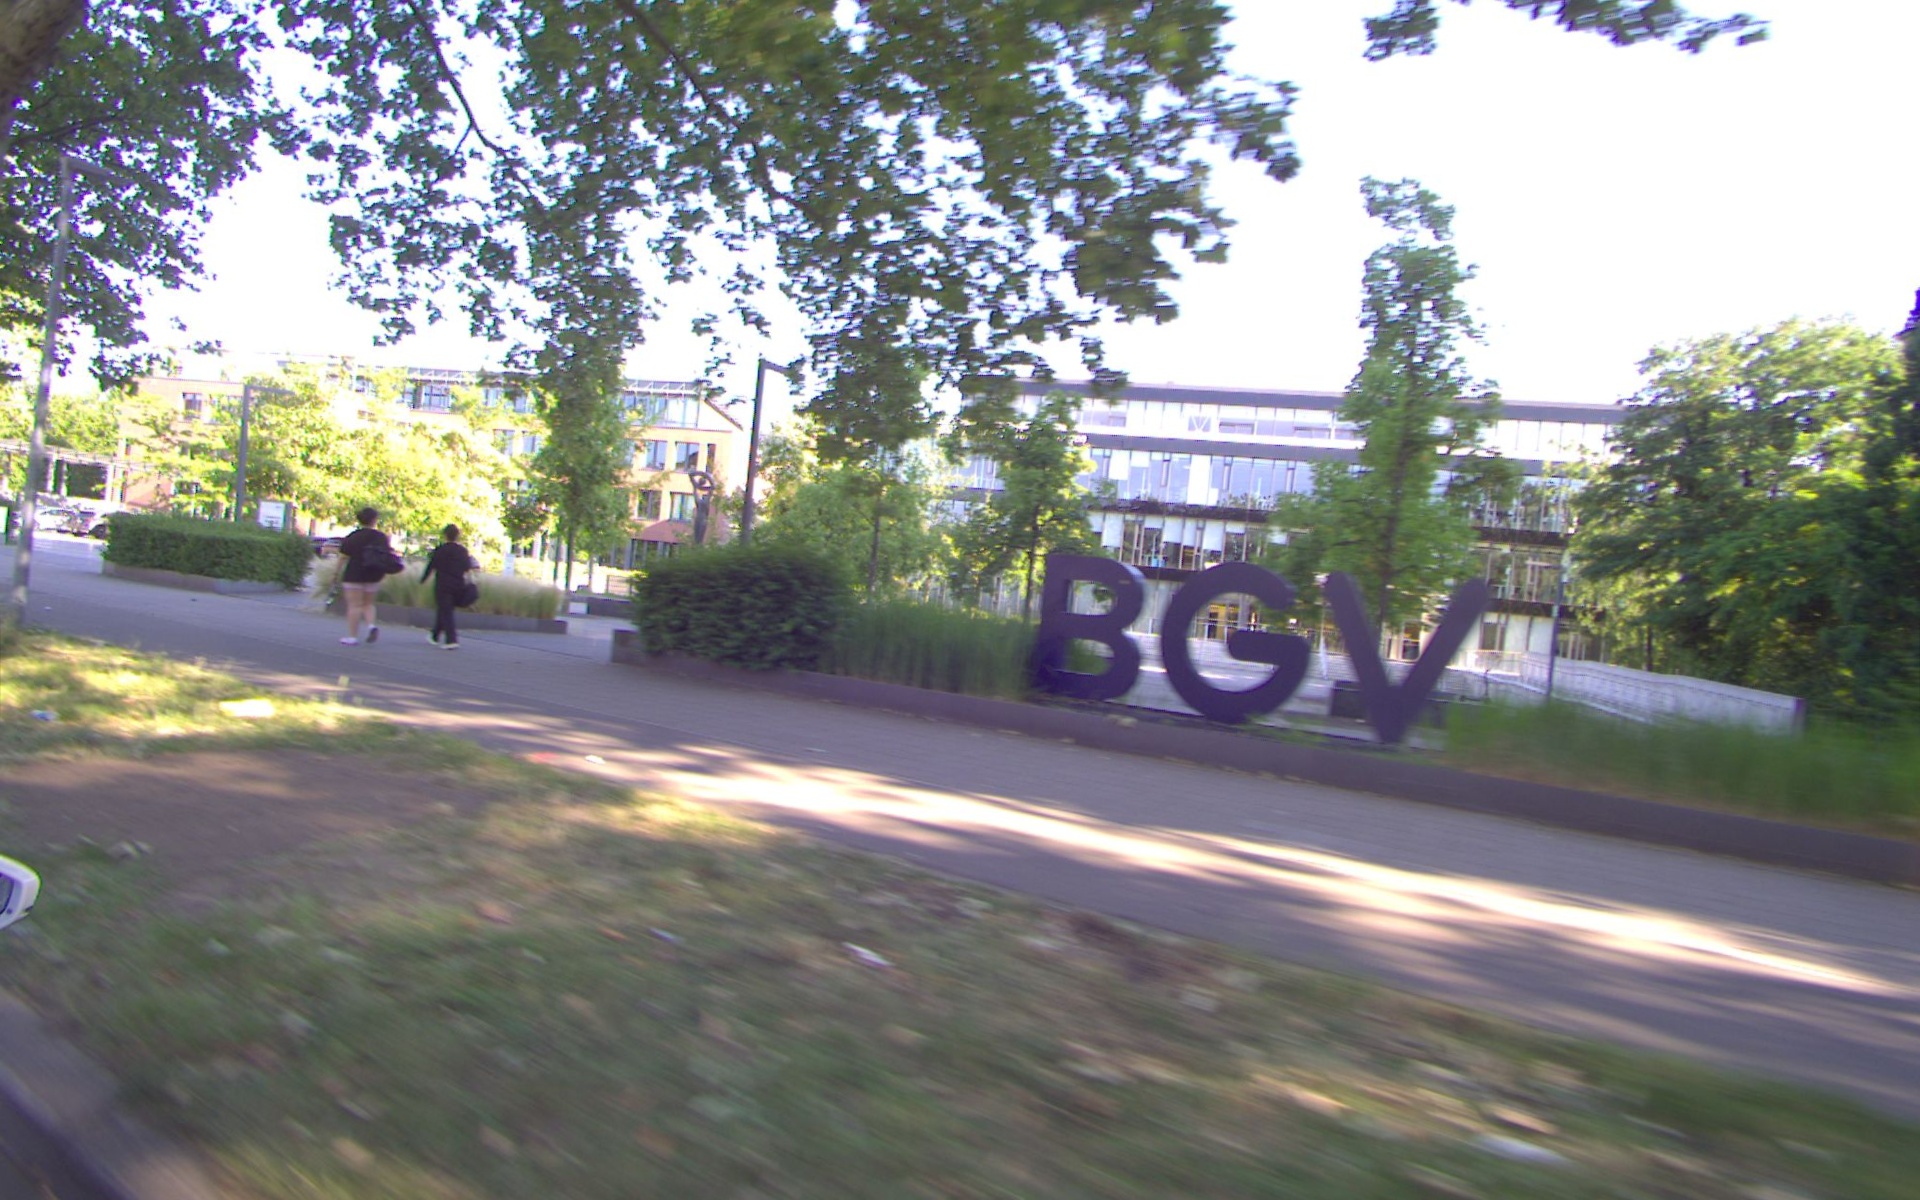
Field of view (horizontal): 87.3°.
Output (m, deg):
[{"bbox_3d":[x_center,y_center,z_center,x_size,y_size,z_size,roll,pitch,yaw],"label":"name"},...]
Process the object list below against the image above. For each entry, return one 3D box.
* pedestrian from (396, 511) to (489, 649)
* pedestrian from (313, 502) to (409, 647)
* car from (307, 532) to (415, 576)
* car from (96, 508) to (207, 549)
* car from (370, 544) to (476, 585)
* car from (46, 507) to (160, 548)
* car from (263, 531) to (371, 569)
[{"bbox_3d":[-6.653,-0.252,12.939,0.770,1.677,0.650,6,1,31],"label":"pedestrian"},{"bbox_3d":[-7.276,-0.305,12.224,0.727,1.678,0.628,6,1,31],"label":"pedestrian"},{"bbox_3d":[-31.020,-2.346,52.289,2.033,1.735,4.687,7,0,12],"label":"car"},{"bbox_3d":[-45.021,-3.955,56.146,1.813,1.735,4.687,7,0,11],"label":"car"},{"bbox_3d":[-26.819,-1.756,50.463,2.033,1.503,4.689,7,-1,12],"label":"car"},{"bbox_3d":[-48.073,-4.030,56.578,1.813,1.735,4.687,7,0,11],"label":"car"},{"bbox_3d":[-33.552,-2.587,52.662,1.925,1.484,4.687,7,0,12],"label":"car"}]
